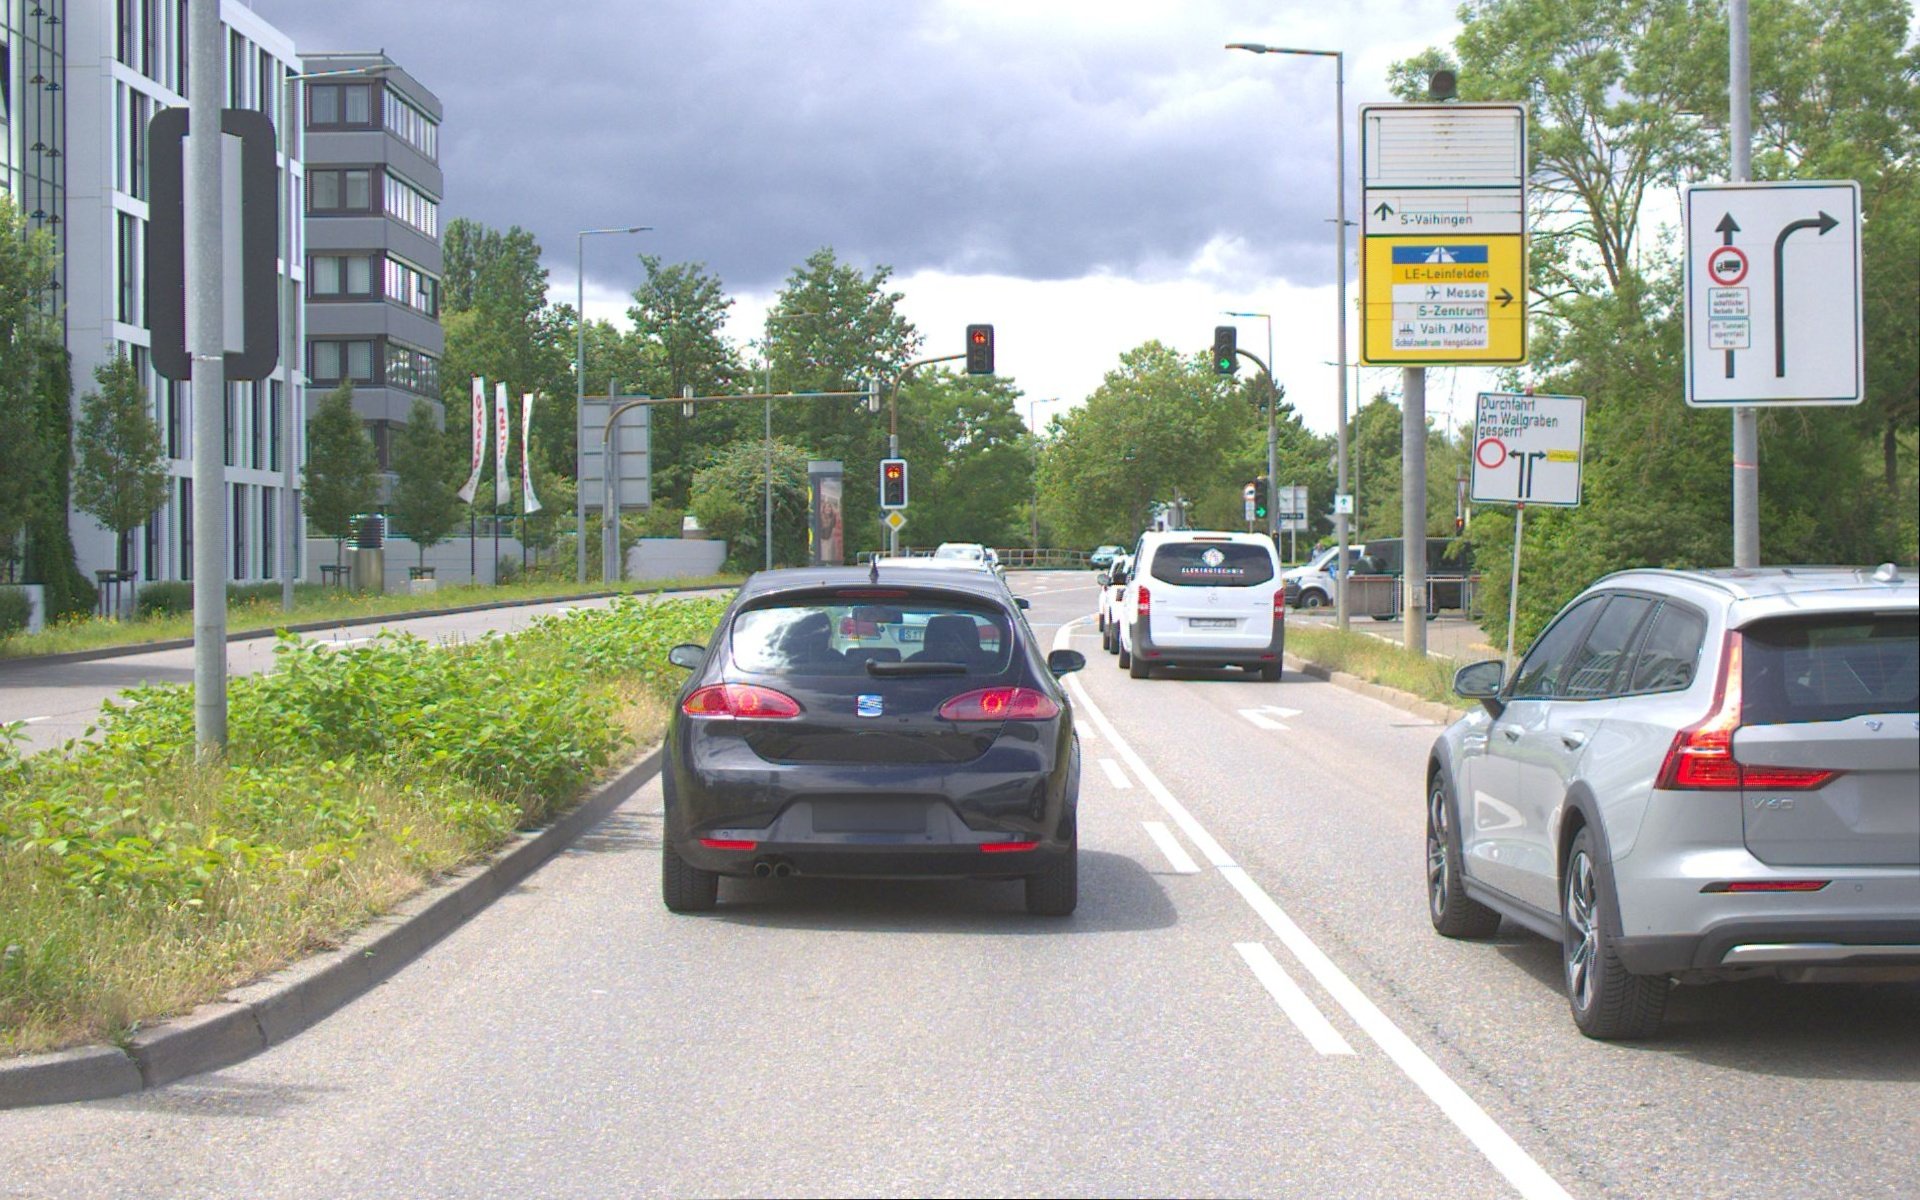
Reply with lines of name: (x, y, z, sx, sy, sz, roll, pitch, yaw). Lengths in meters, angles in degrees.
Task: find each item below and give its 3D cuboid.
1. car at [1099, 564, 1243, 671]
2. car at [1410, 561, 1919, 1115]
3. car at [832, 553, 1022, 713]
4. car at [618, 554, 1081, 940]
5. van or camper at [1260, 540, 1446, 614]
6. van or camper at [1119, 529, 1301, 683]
car: (3.298, 0.243, 54.387, 1.993, 1.626, 4.000, 0, 1, 0)
car: (2.819, 0.641, 11.842, 1.863, 1.513, 4.447, 0, 1, -1)
car: (-0.317, 0.285, 34.145, 1.773, 1.486, 3.582, 0, 1, 0)
car: (-0.375, 0.549, 15.221, 1.773, 1.447, 3.582, 1, 1, 2)
van or camper: (10.797, -0.640, 94.616, 4.799, 2.007, 2.000, 0, 1, -3)
van or camper: (3.138, 0.037, 43.994, 1.993, 1.853, 4.944, 0, 1, 0)
